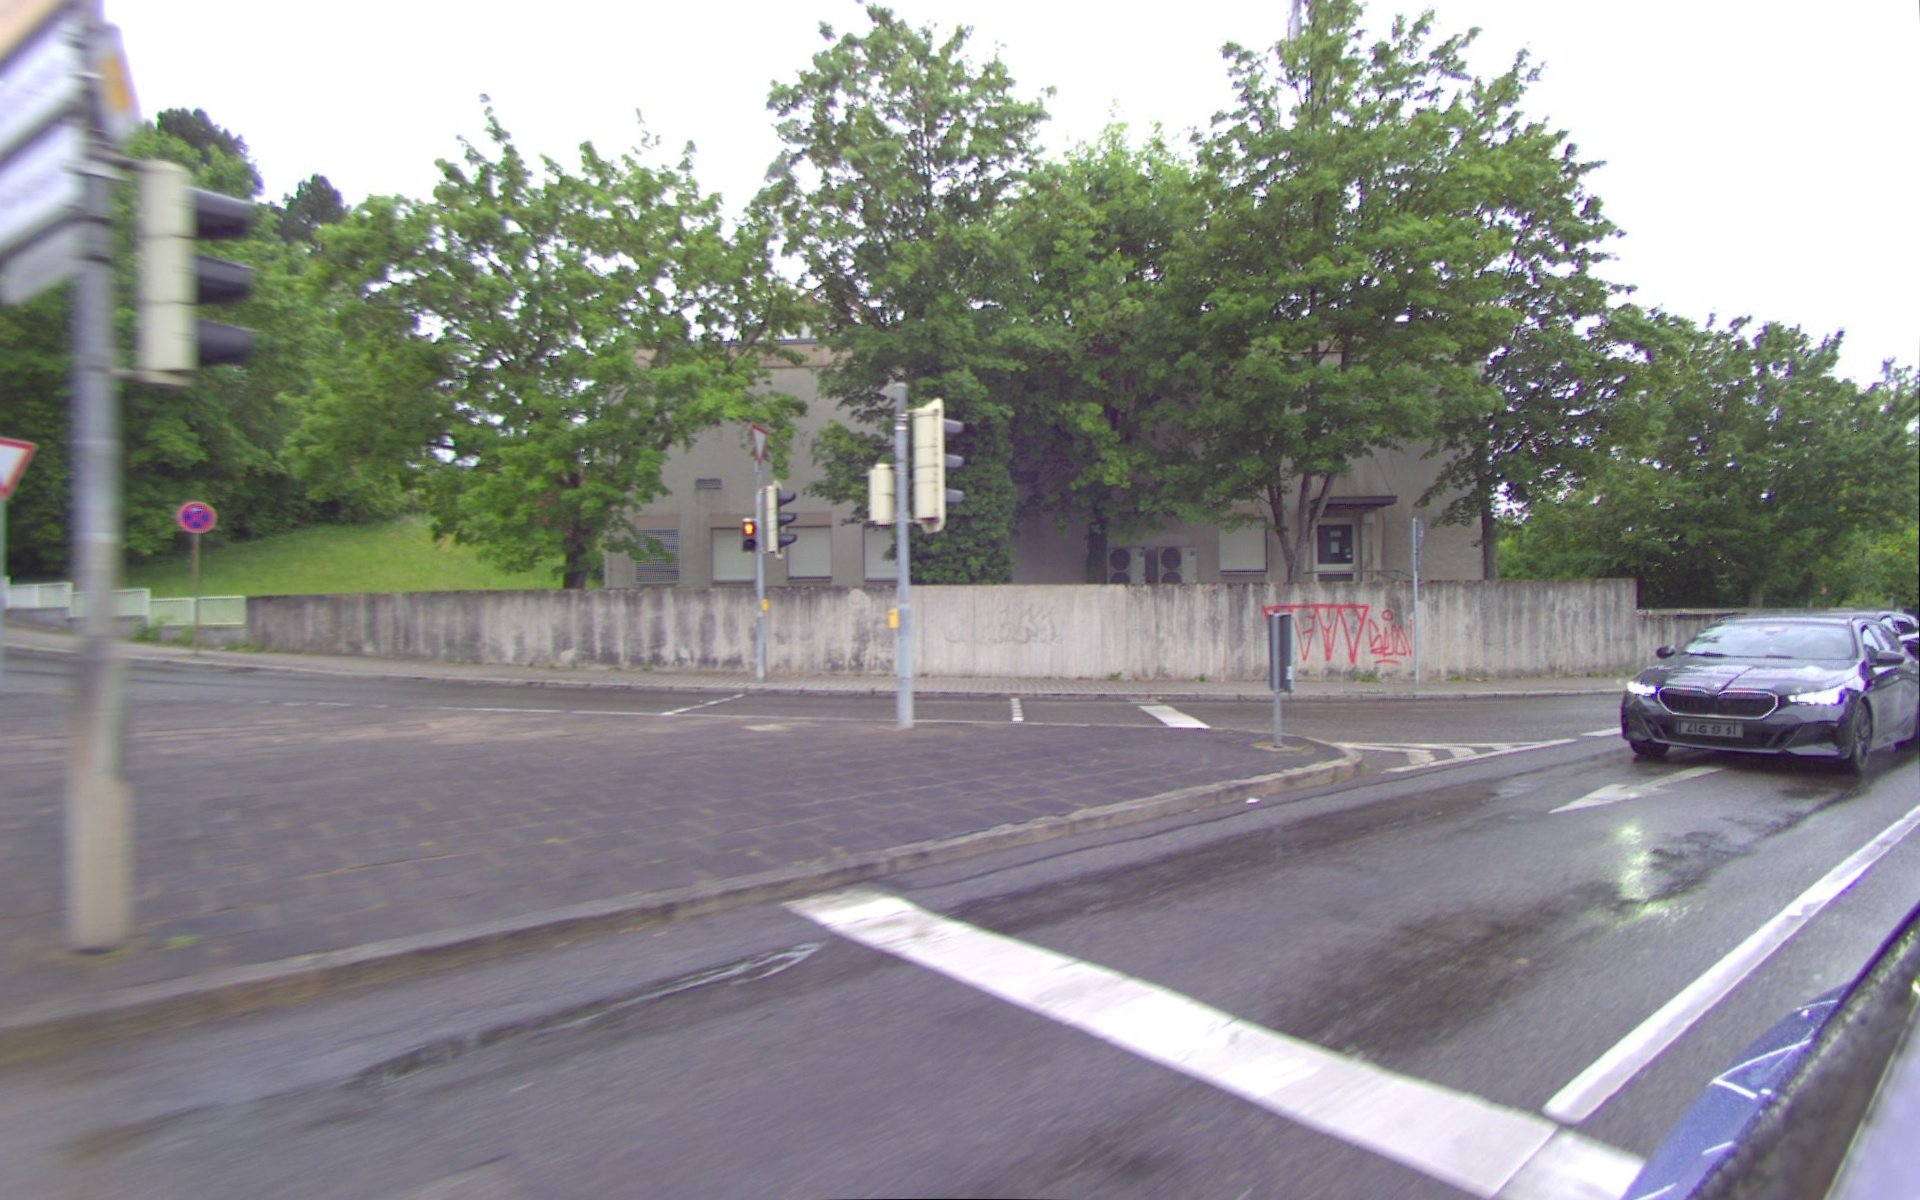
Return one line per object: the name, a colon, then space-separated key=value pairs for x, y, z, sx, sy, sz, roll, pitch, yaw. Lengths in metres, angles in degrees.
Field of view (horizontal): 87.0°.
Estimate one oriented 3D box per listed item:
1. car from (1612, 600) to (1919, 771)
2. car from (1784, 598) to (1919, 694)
car: x=9.048 y=0.767 z=10.957 sx=4.690 sy=1.477 sz=1.910 roll=1 pitch=-1 yaw=-38
car: x=17.384 y=0.826 z=19.052 sx=4.172 sy=1.624 sz=1.795 roll=1 pitch=-2 yaw=-35
